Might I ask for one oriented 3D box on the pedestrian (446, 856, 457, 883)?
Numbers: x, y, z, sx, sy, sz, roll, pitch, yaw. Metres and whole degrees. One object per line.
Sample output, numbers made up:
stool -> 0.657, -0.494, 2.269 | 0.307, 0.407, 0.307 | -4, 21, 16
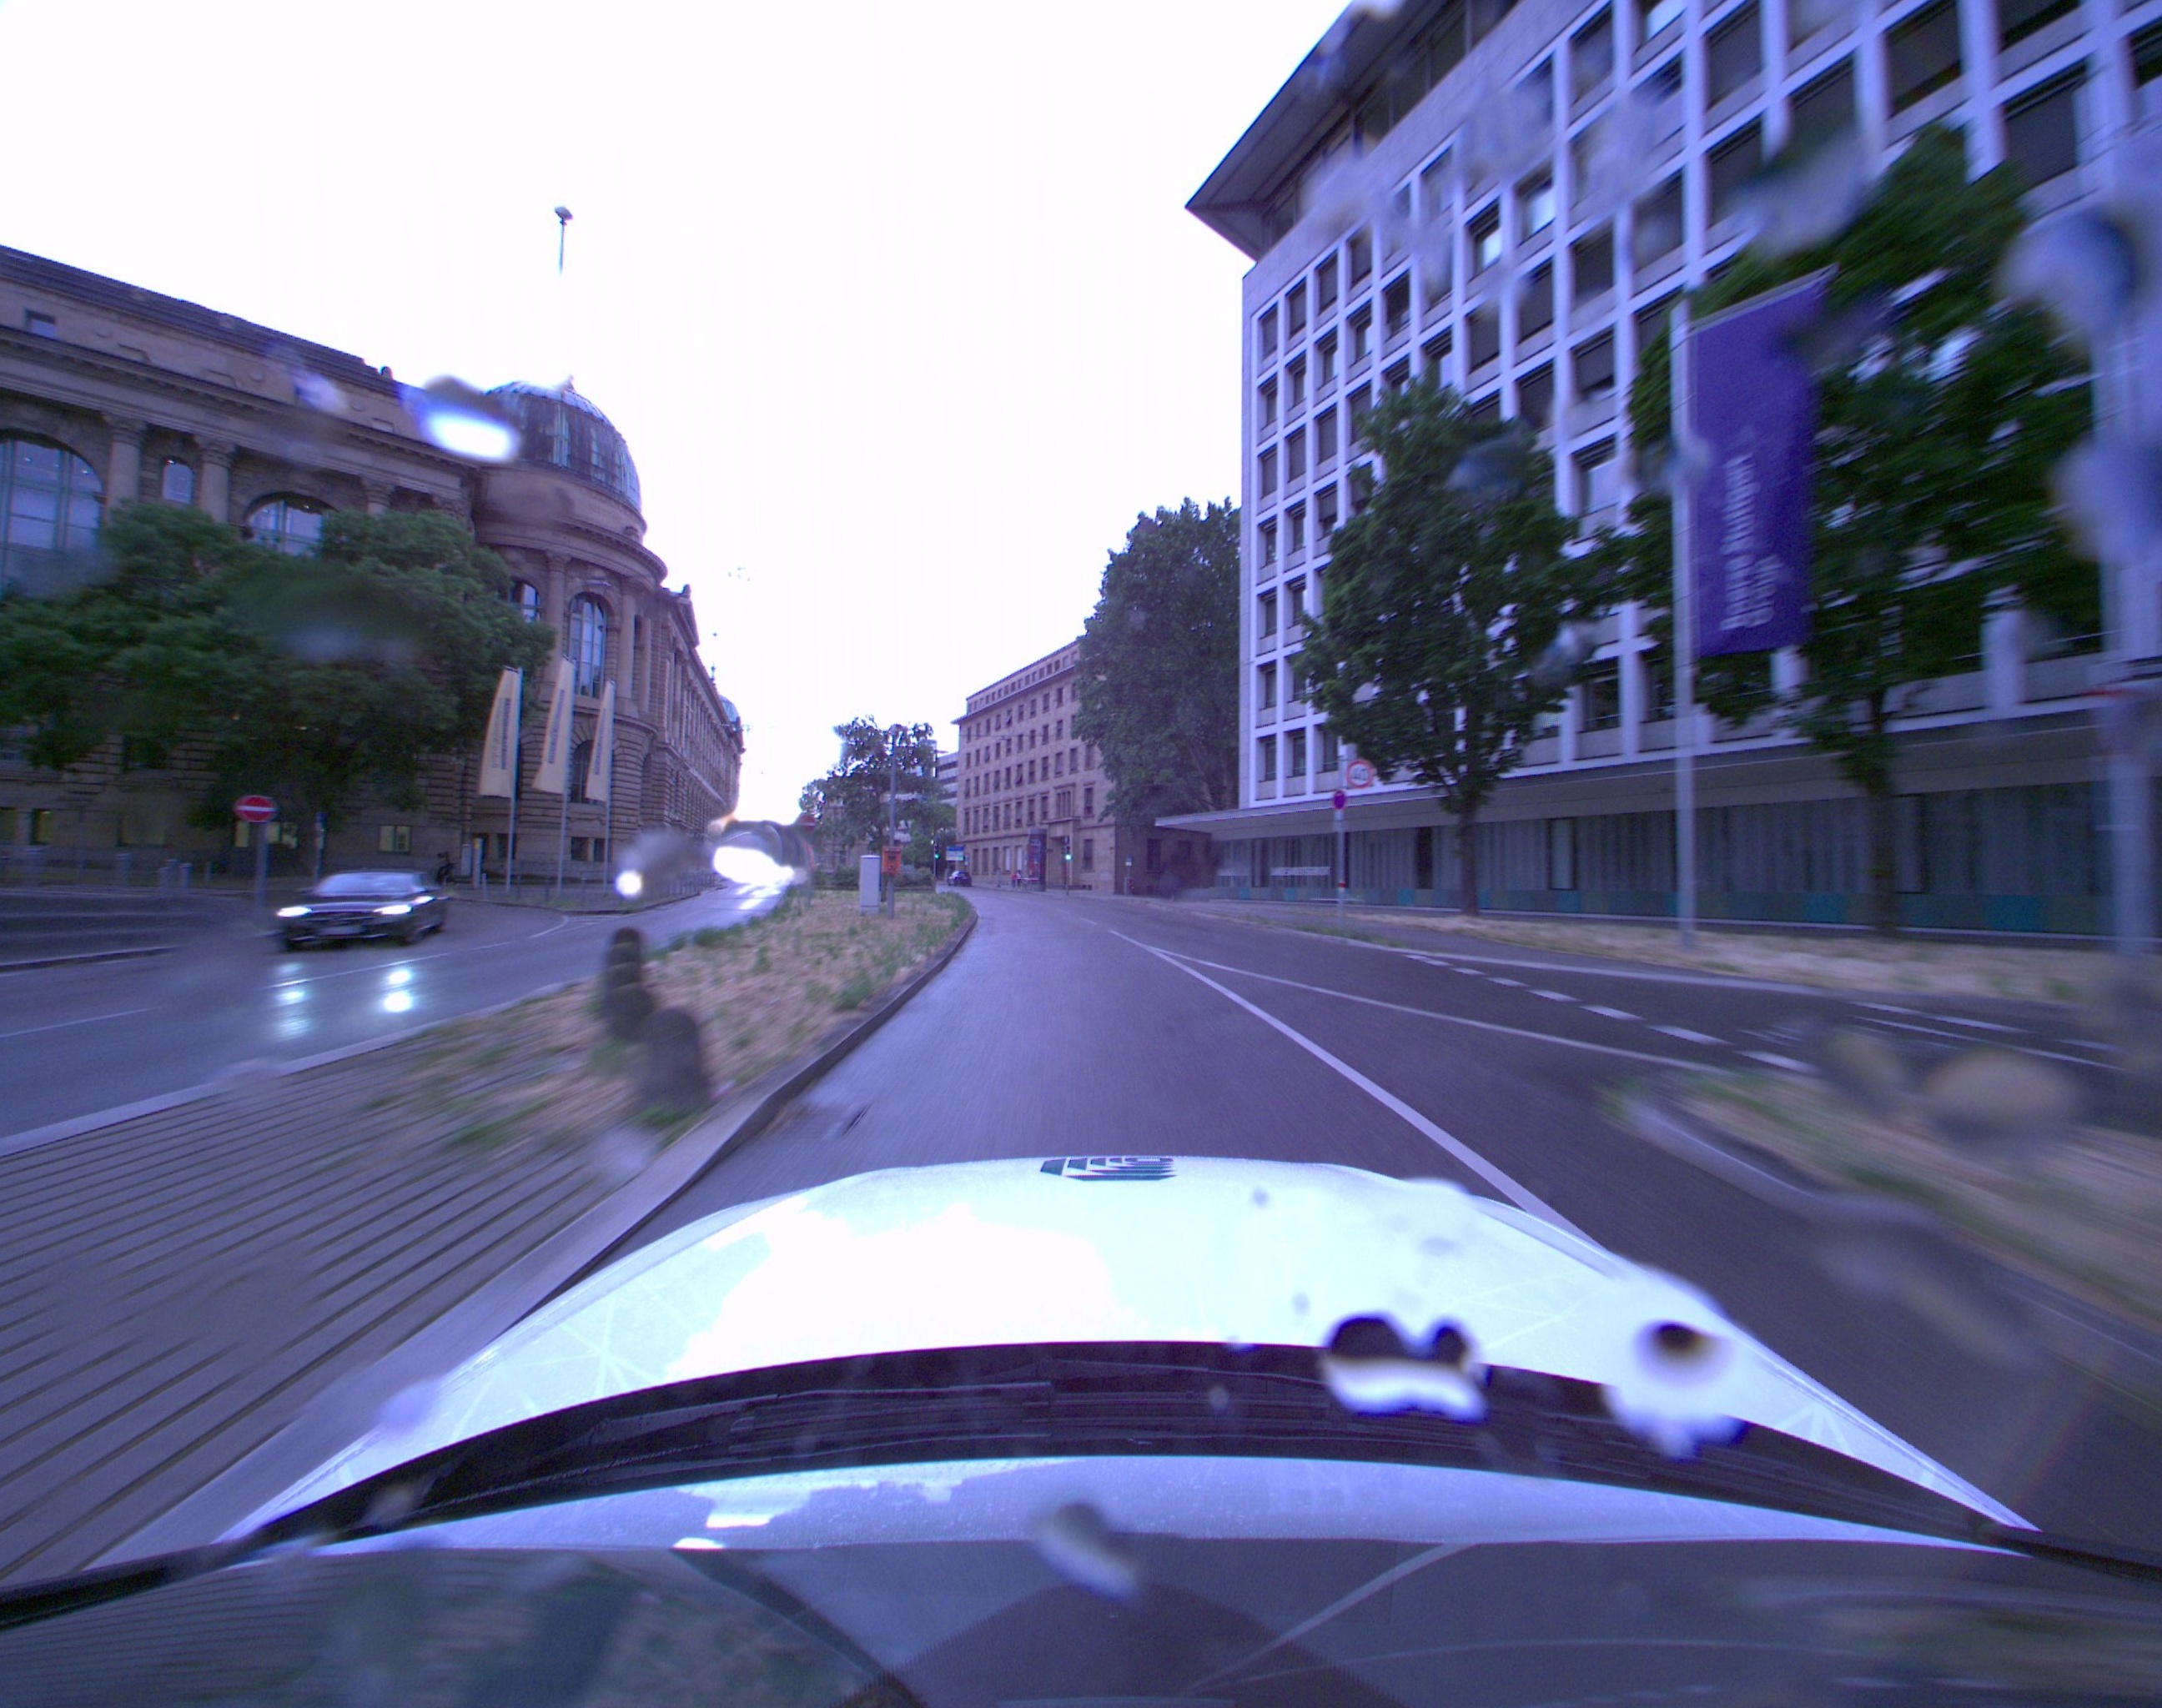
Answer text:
pedestrian -> -30.748, 0.759, 39.794 | 0.389, 1.345, 0.436 | 2, -2, -38

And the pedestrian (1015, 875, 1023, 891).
pedestrian -> -5.981, 2.797, 78.522 | 0.526, 1.603, 0.669 | 2, -2, -18

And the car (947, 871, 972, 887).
car -> -12.897, 2.631, 86.316 | 1.775, 1.619, 4.127 | 2, -2, -21

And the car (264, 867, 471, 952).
car -> -14.503, 1.048, 16.936 | 2.004, 1.493, 4.800 | 1, -2, -26

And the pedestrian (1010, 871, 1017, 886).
pedestrian -> -6.452, 2.353, 78.186 | 0.526, 1.492, 0.669 | 2, -2, -19

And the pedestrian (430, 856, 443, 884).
pedestrian -> -31.799, 0.789, 40.179 | 0.443, 1.345, 0.637 | 2, -2, -38

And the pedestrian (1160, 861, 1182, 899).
pedestrian -> 4.276, 1.252, 38.733 | 0.780, 1.772, 0.859 | 1, -2, -13

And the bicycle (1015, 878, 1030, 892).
bicycle -> -4.334, 2.264, 60.056 | 0.491, 1.012, 1.913 | 2, -2, -22
